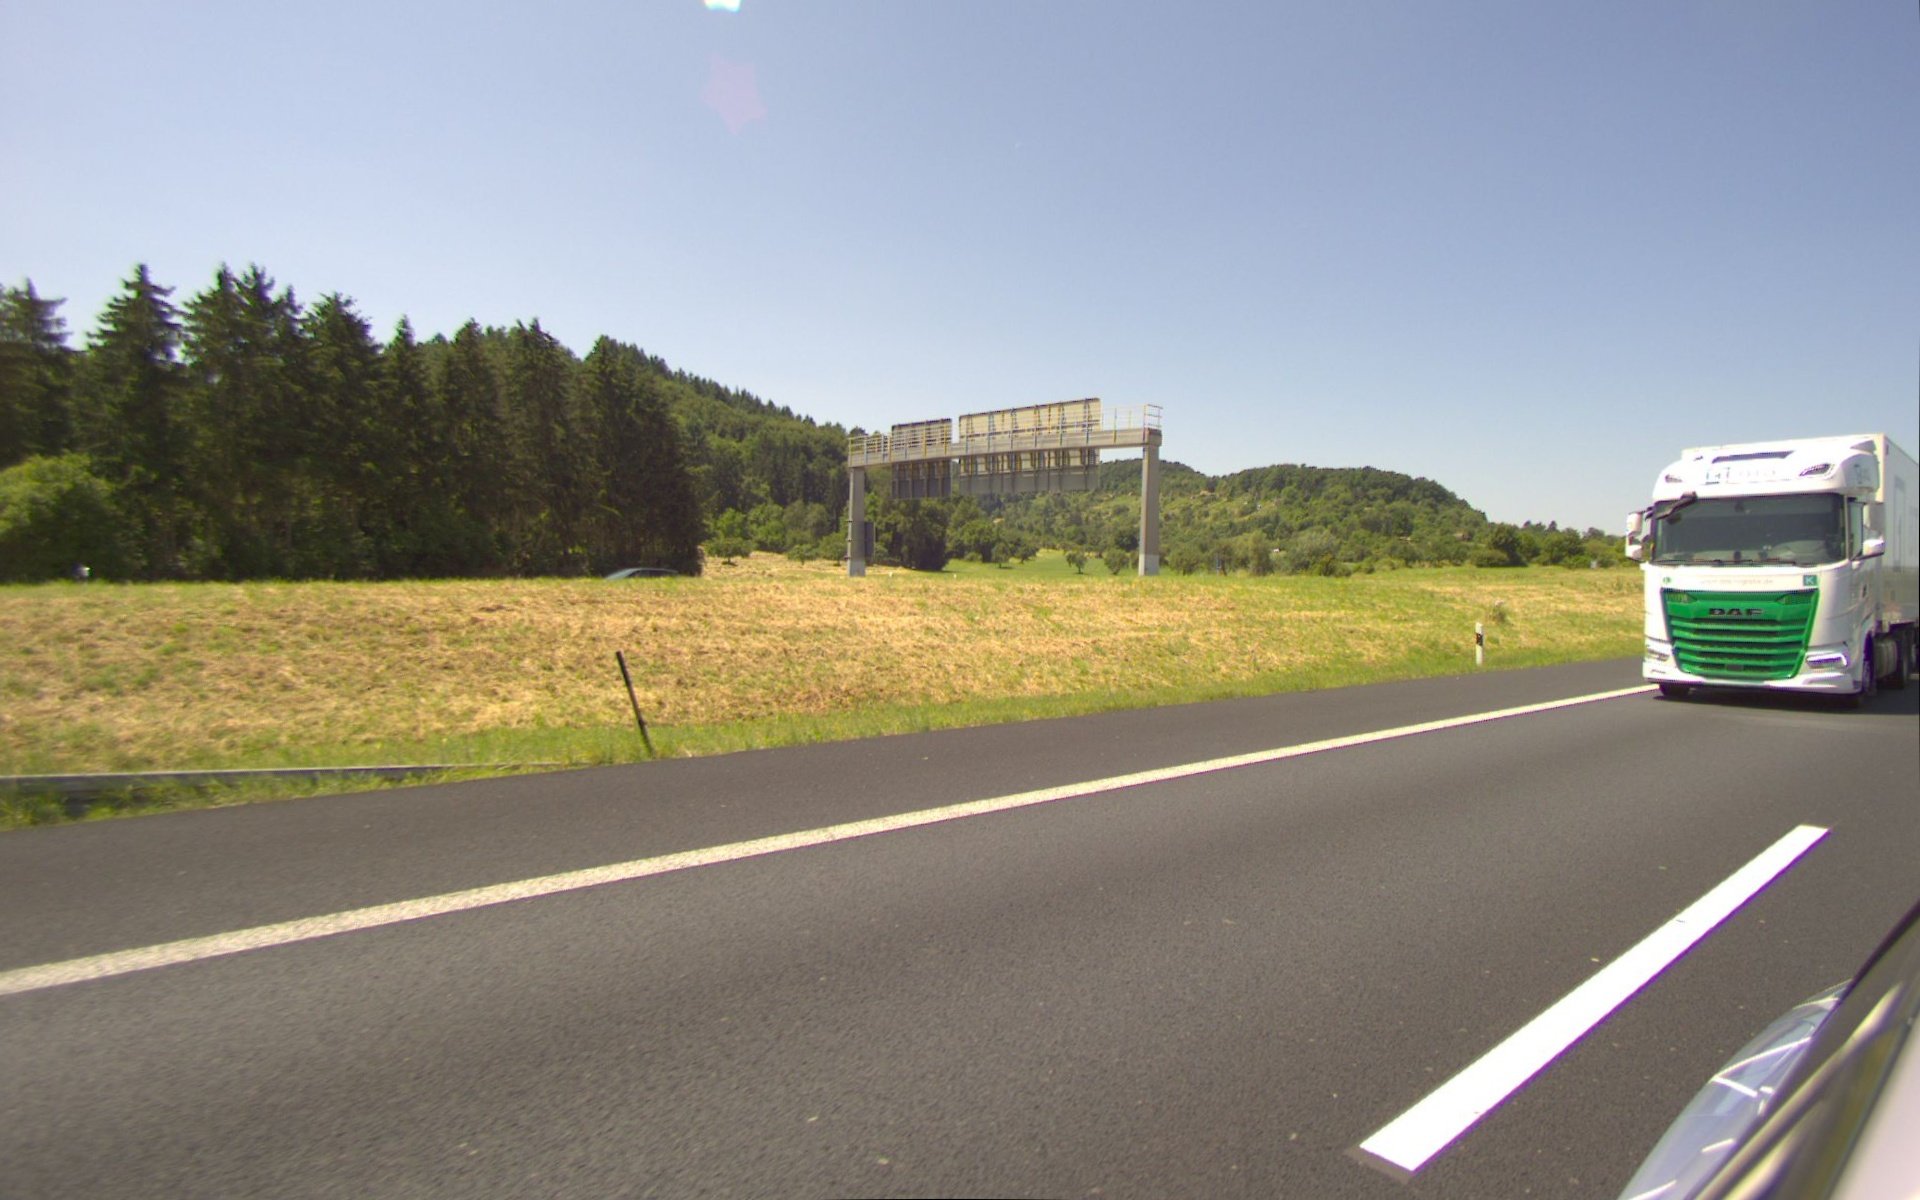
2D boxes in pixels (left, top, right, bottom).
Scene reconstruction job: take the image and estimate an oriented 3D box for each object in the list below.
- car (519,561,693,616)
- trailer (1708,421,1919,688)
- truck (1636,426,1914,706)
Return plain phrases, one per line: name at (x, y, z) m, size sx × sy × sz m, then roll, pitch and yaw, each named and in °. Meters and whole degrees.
car at (-11.701, -0.375, 33.716) m, size 5.140 × 1.683 × 1.996 m, roll -1°, pitch 0°, yaw -43°
trailer at (19.716, -0.756, 21.901) m, size 14.636 × 4.241 × 2.660 m, roll 0°, pitch 0°, yaw -41°
truck at (12.613, -0.462, 15.585) m, size 4.328 × 3.638 × 2.646 m, roll -1°, pitch 0°, yaw -42°
